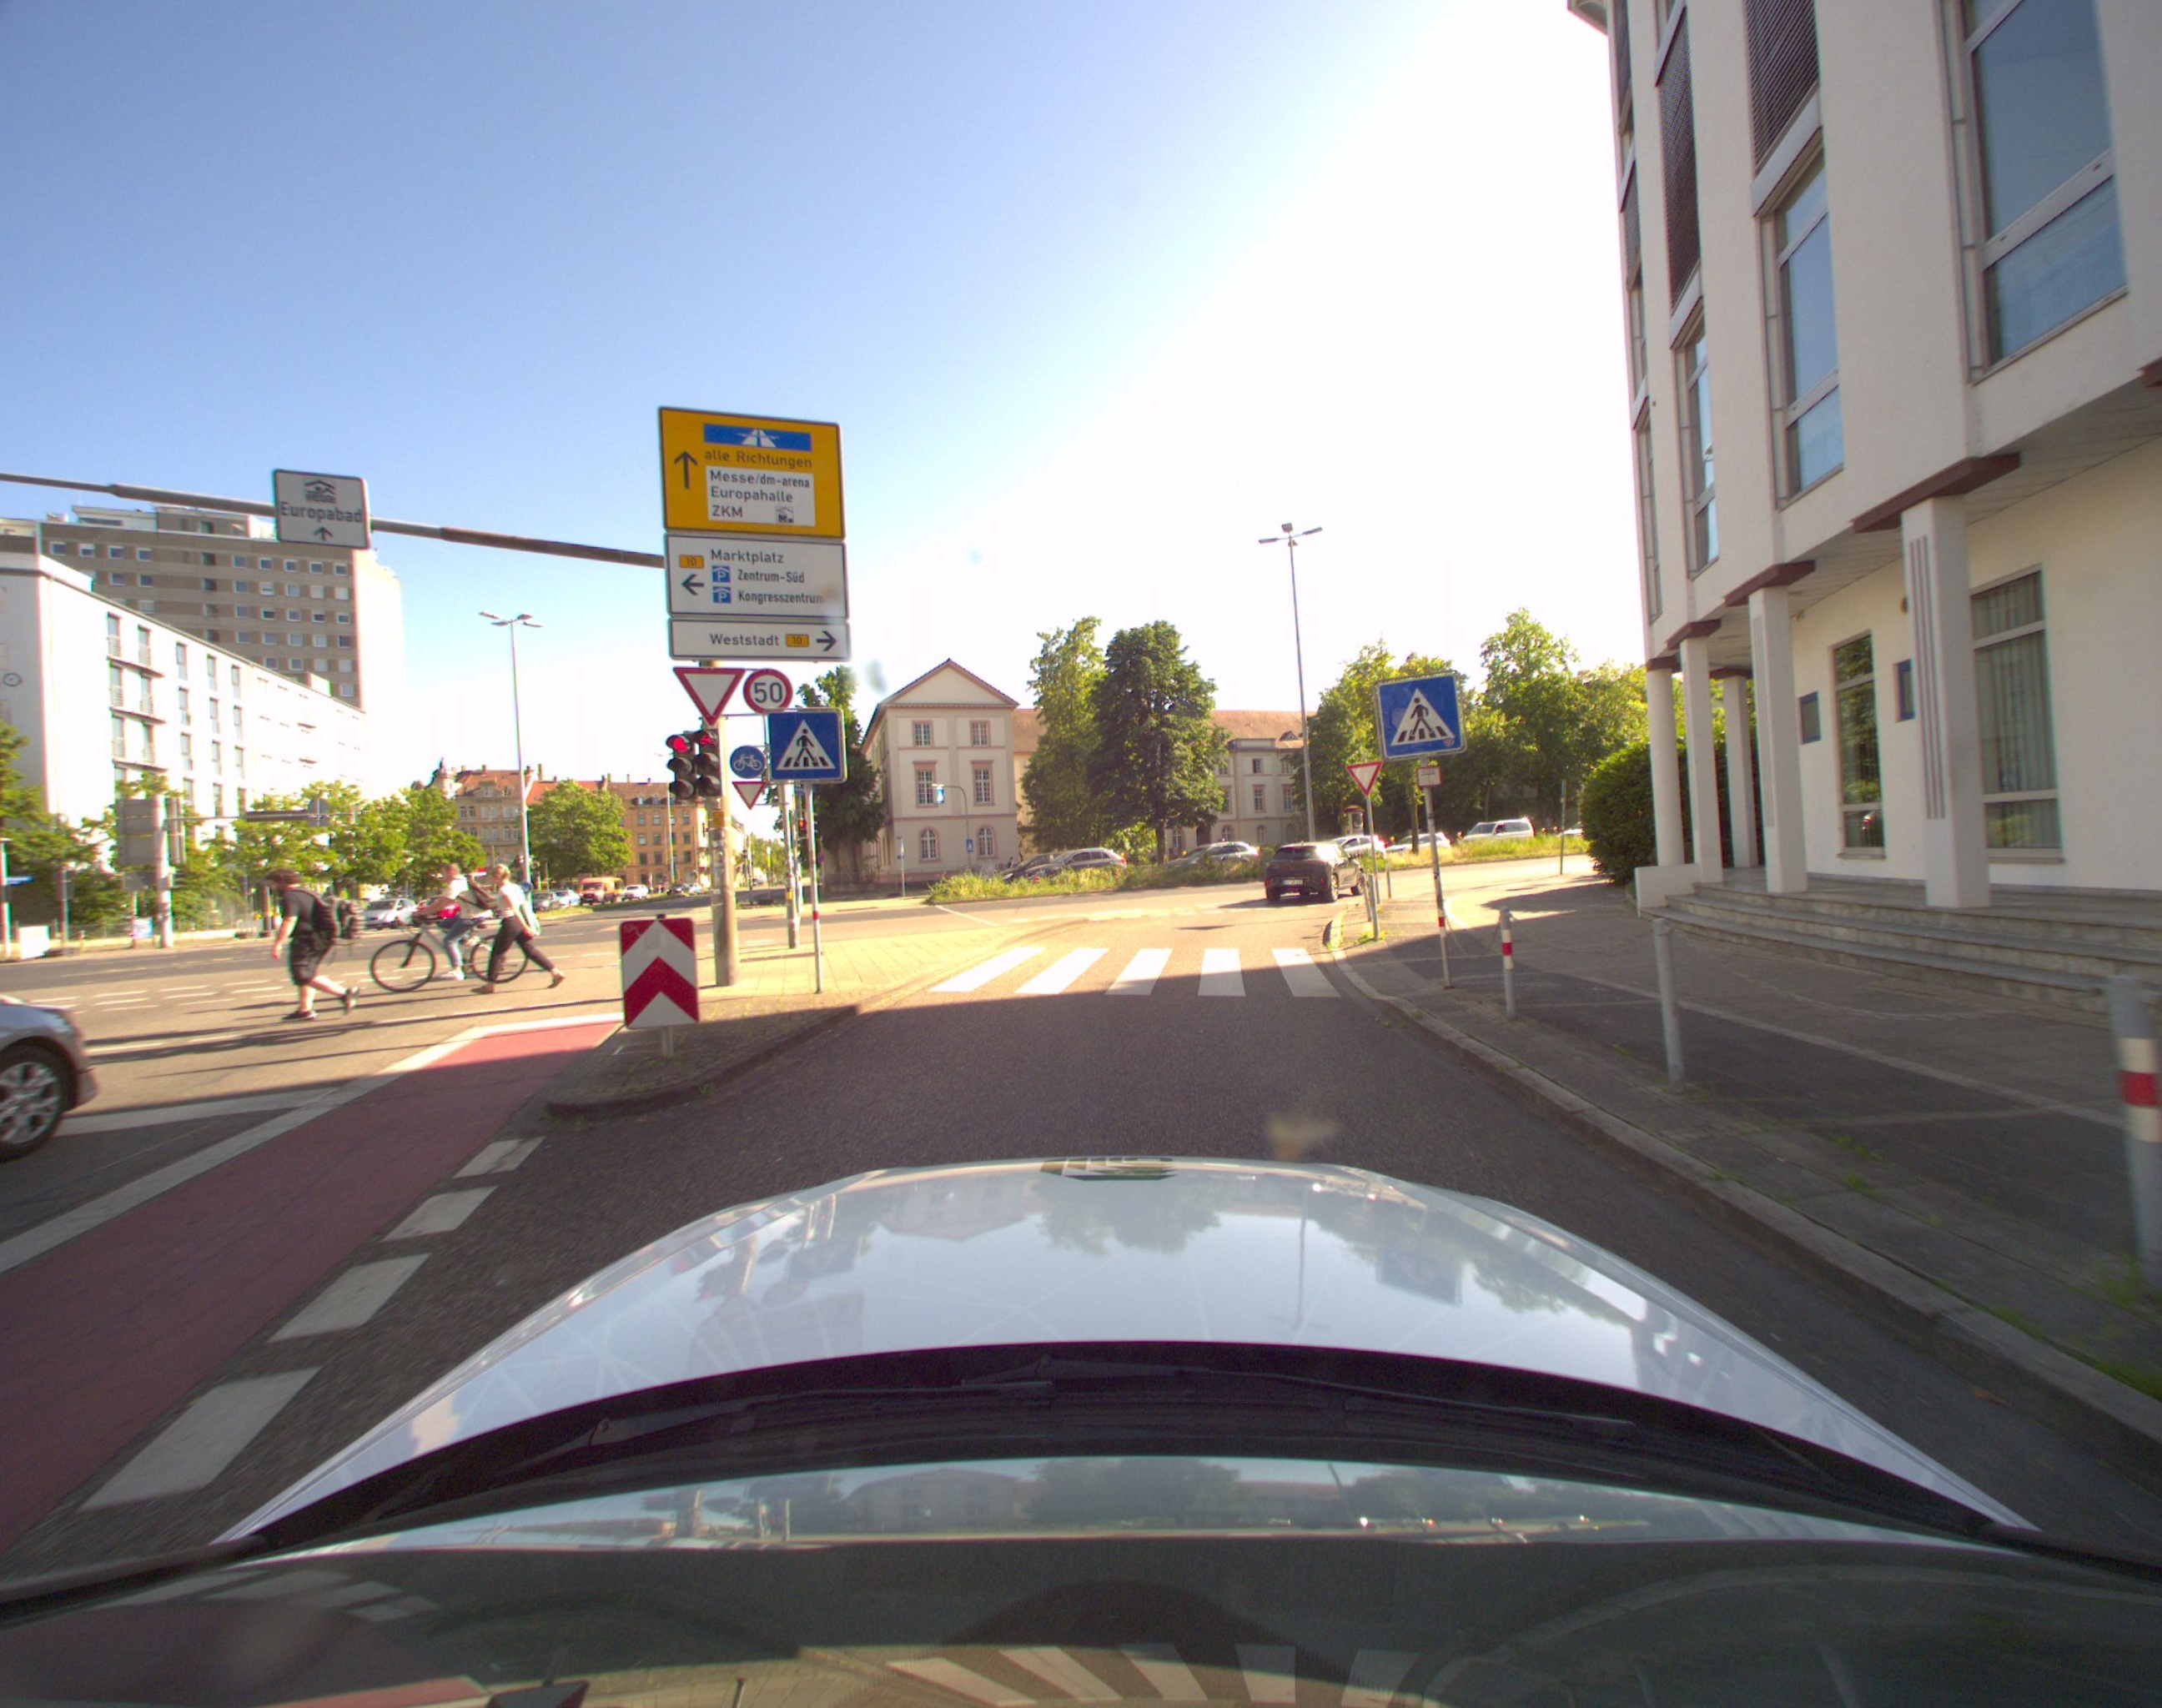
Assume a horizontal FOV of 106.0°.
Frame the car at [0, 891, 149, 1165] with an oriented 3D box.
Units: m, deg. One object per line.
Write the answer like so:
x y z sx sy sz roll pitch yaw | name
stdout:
-6.293 0.963 3.030 1.884 1.408 4.031 -2 0 -19 | car

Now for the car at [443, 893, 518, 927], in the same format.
-34.432 3.174 46.846 1.917 1.618 4.685 0 -1 -16 | car

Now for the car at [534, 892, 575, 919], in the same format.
-36.828 3.582 57.040 1.562 1.618 3.973 0 -1 -20 | car

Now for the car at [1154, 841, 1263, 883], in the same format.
5.533 0.307 35.157 4.372 1.519 1.786 -4 1 -27 | car

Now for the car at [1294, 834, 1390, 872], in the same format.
12.247 -0.049 38.196 4.214 1.519 1.786 -3 0 -27 | car

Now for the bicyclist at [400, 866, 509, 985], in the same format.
-8.625 0.954 11.262 0.850 1.534 0.867 -2 0 -11 | bicyclist

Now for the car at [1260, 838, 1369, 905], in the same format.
6.426 0.422 22.115 1.876 1.519 4.026 -2 2 30 | car

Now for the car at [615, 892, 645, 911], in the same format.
-48.857 5.104 88.319 1.917 1.814 4.684 0 -1 -17 | car

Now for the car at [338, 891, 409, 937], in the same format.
-35.924 2.987 41.451 2.006 2.014 3.961 0 -1 -30 | car

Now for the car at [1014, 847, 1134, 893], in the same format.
-0.263 0.600 32.001 4.356 1.519 1.786 -3 0 -27 | car

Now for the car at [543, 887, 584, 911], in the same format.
-39.784 3.448 62.666 1.921 1.618 4.675 0 -1 -23 | car

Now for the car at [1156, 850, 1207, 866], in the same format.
9.629 0.377 77.748 4.693 1.492 1.633 0 -1 -26 | car

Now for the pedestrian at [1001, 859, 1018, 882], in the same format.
-4.764 1.095 54.077 0.784 1.535 0.735 -3 0 -31 | pedestrian

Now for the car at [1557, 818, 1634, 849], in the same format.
33.121 -1.335 52.409 5.043 1.743 1.786 -3 0 -27 | car

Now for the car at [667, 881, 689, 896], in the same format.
-52.417 4.464 105.943 2.000 1.816 3.974 0 -1 -19 | car

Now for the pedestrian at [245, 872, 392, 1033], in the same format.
-8.408 1.024 9.005 0.787 1.643 0.991 -1 -1 30 | pedestrian

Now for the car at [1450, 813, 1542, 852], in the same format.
24.635 -1.277 48.317 5.028 2.028 2.221 -3 0 -27 | car

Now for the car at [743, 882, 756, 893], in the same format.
-55.258 5.554 135.741 1.855 1.706 3.972 -3 0 -21 | car

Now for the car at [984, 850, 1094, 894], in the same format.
-1.788 0.732 34.953 4.287 1.585 1.847 -3 0 -27 | car

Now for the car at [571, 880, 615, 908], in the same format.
-43.904 3.566 73.384 1.917 2.231 5.867 0 -1 -16 | car

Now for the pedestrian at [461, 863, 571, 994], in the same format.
-7.402 0.931 10.689 0.777 1.607 0.936 -1 -1 30 | pedestrian

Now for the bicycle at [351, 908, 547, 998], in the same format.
-8.667 1.334 11.260 1.898 0.990 0.863 -4 0 -13 | bicycle

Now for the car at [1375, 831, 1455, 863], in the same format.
18.464 -0.412 44.953 4.088 1.519 1.786 -3 0 -27 | car

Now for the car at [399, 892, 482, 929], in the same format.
-32.286 2.824 41.218 1.917 1.618 3.978 0 -1 -16 | car
